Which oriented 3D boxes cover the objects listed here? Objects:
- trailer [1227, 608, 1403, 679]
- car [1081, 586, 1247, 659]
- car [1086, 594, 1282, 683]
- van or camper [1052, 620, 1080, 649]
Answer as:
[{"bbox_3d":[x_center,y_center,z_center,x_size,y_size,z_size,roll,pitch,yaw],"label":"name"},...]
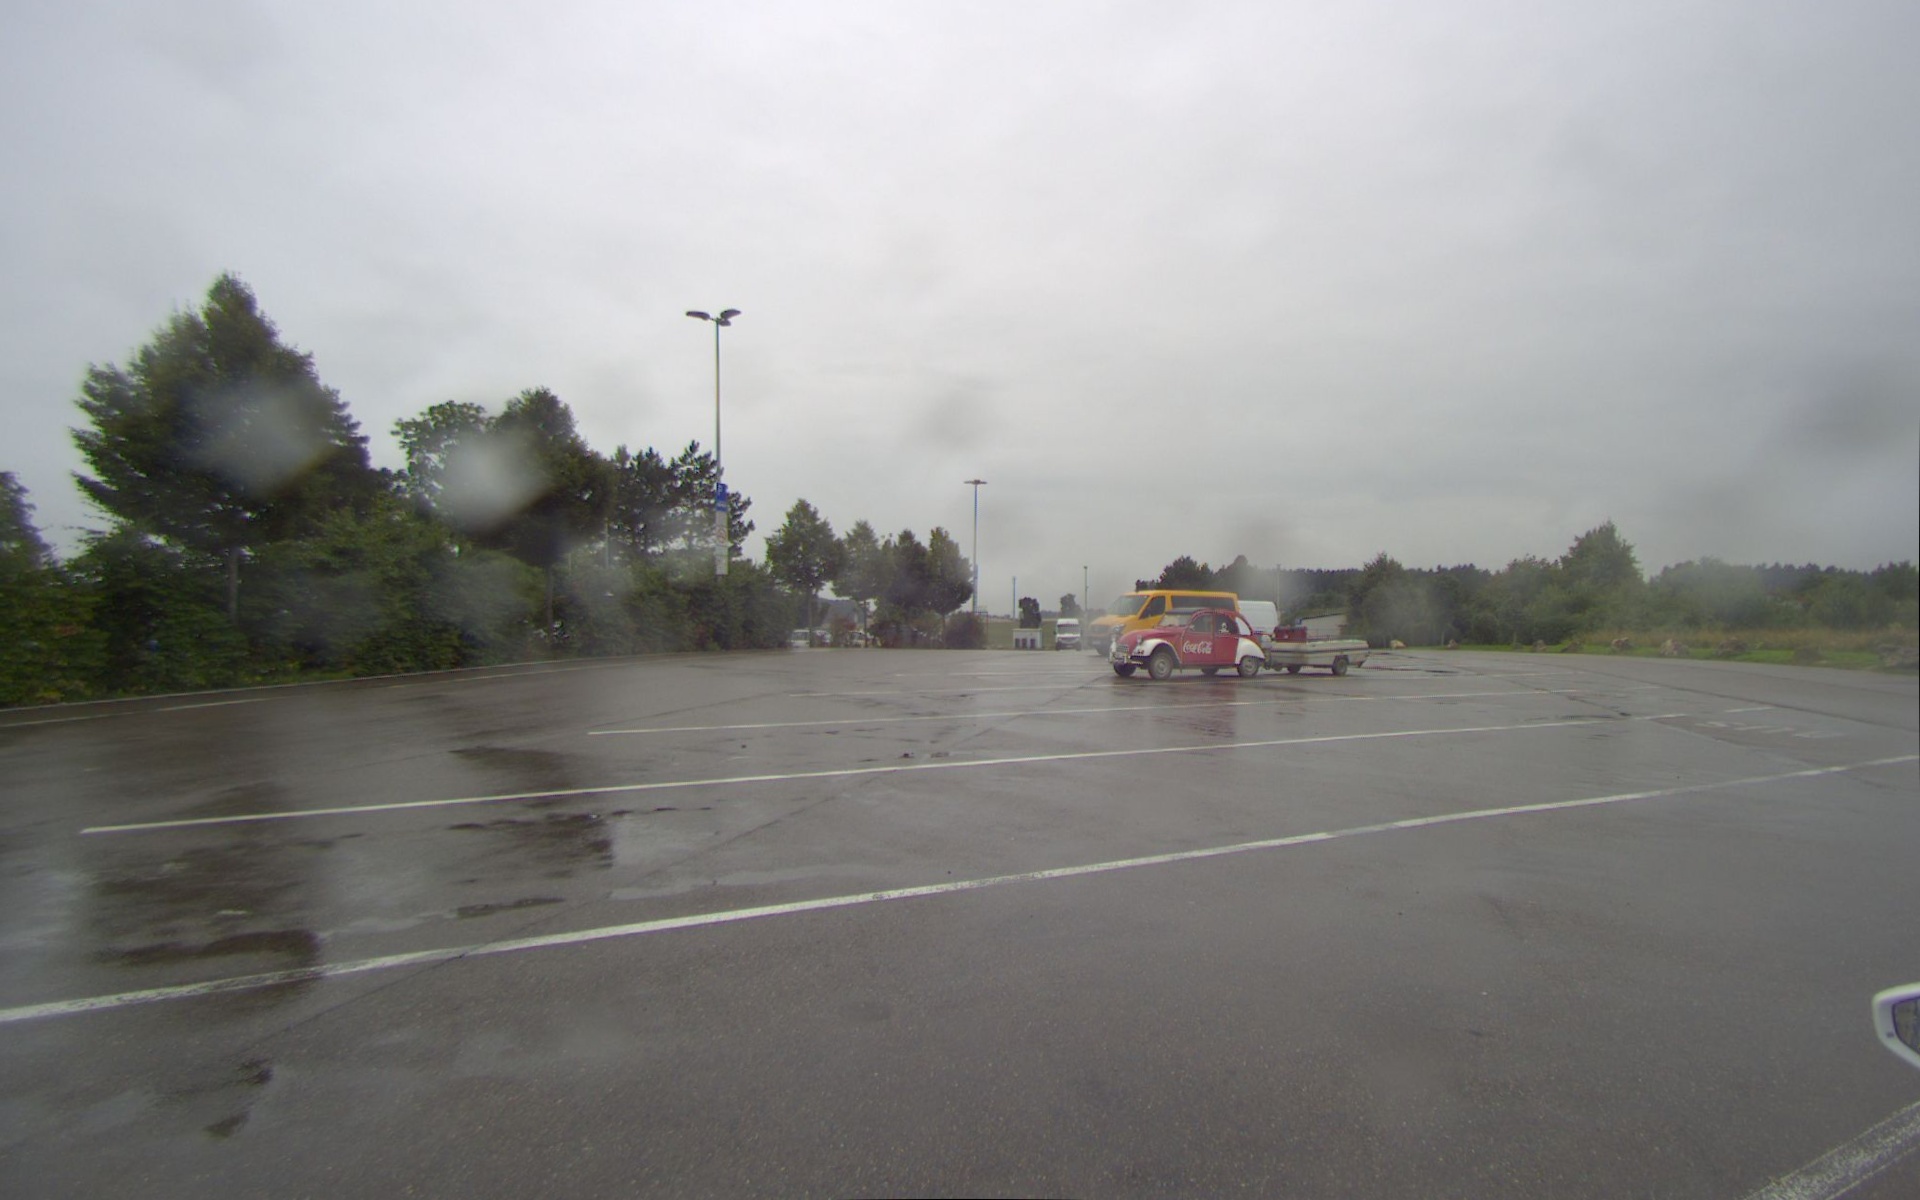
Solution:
[{"bbox_3d":[8.420,1.003,23.765,3.948,1.553,1.689,1,-2,-27],"label":"trailer"},{"bbox_3d":[7.256,0.871,35.457,5.955,2.411,1.985,2,-3,-30],"label":"car"},{"bbox_3d":[4.907,0.832,21.968,3.948,1.800,1.816,1,-2,-27],"label":"car"},{"bbox_3d":[8.266,2.663,78.602,1.960,2.195,4.002,1,-2,3],"label":"van or camper"}]
